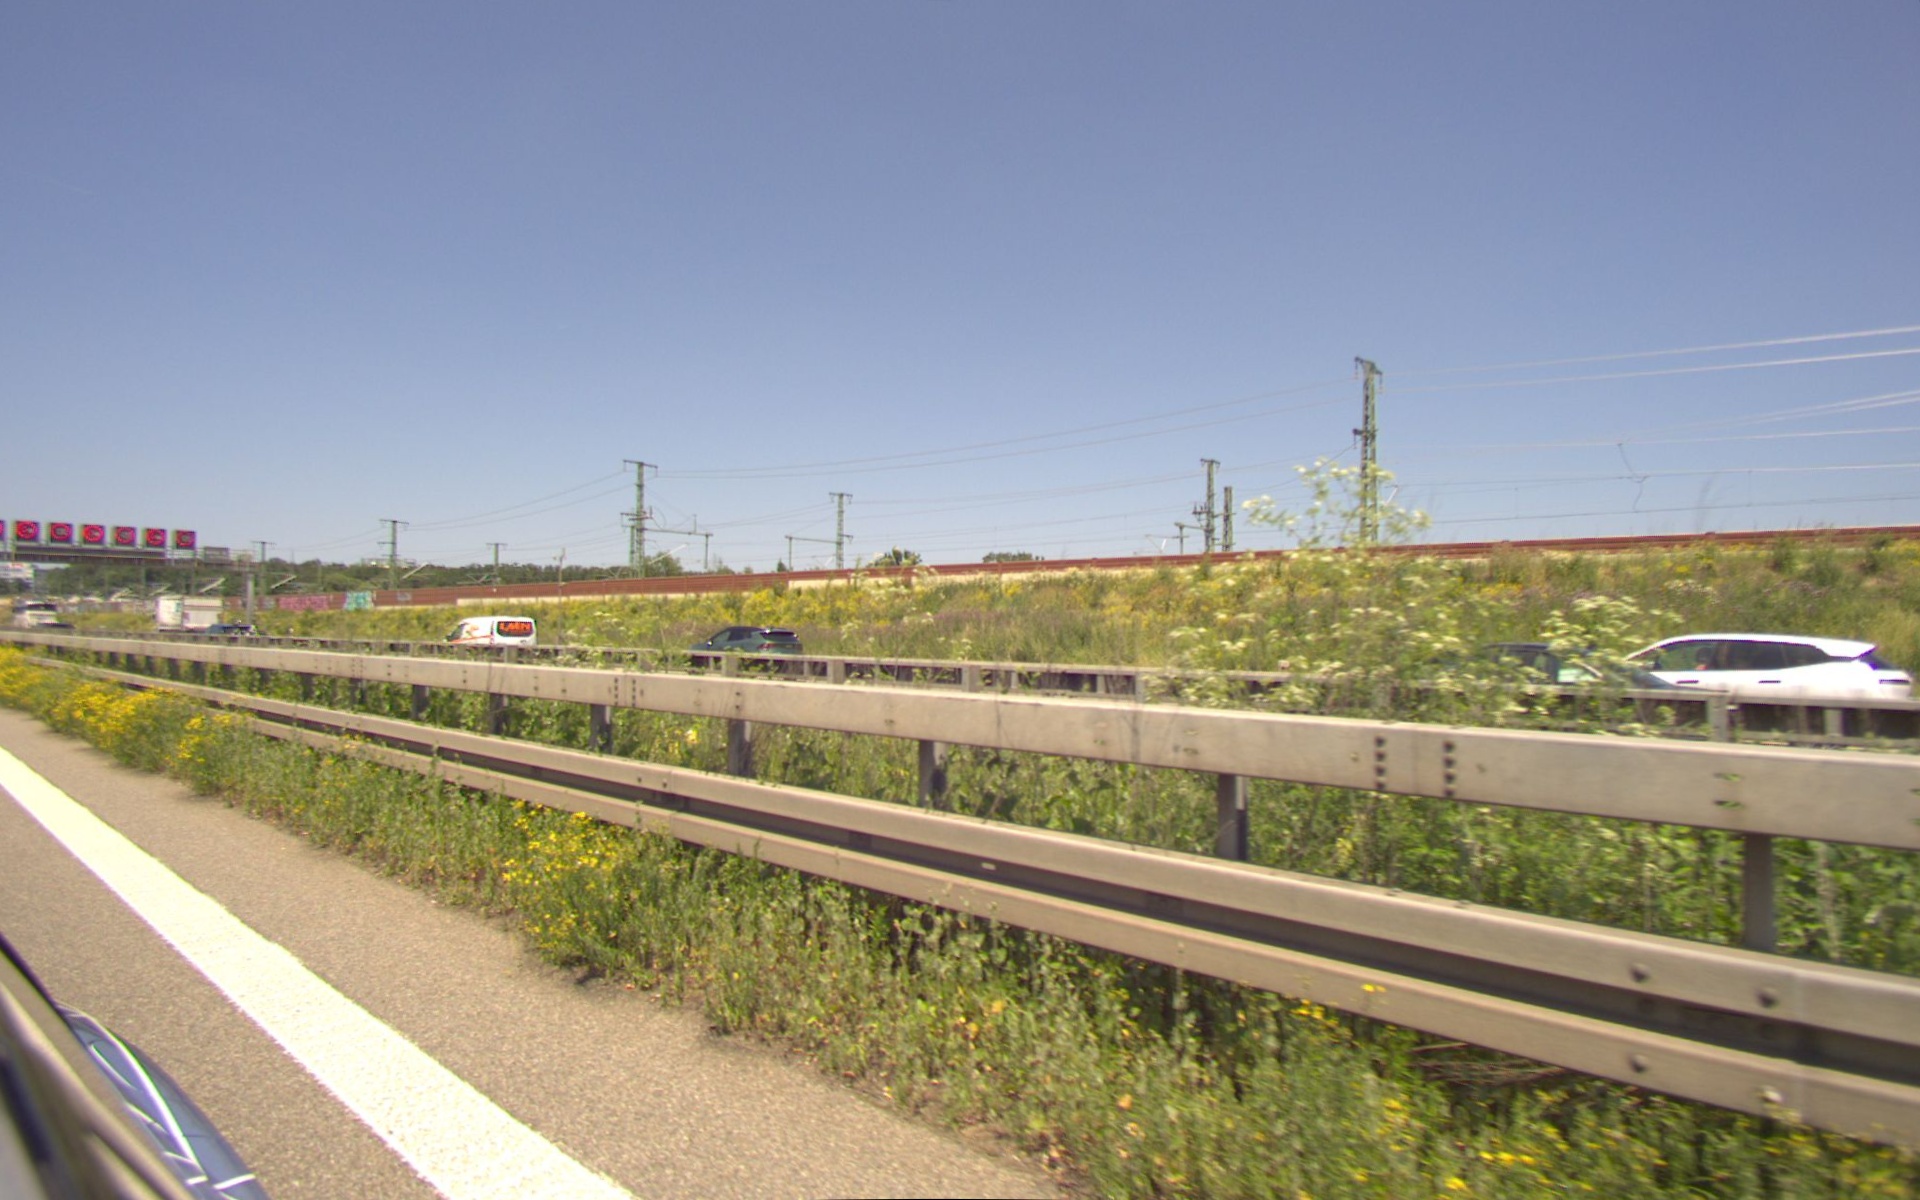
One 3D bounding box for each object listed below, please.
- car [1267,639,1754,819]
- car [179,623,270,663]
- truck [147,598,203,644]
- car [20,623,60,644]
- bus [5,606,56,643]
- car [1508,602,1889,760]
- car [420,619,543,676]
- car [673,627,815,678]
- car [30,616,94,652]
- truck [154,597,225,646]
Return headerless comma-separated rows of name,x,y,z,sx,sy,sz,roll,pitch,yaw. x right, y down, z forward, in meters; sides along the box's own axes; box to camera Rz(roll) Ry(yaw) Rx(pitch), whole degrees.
car,5.563,1.164,10.514,4.131,1.354,1.867,1,-2,42
car,-31.490,1.802,43.270,5.392,1.623,1.900,-1,-3,40
truck,-62.320,1.687,80.324,4.021,3.493,2.818,-1,0,41
car,-73.317,2.650,80.634,3.998,1.623,1.900,-1,-3,42
bus,-99.915,2.614,108.697,10.935,3.673,2.827,-2,0,41
car,11.160,1.102,15.534,4.493,2.029,1.972,1,-2,42
car,-16.489,1.585,34.748,5.194,1.814,1.900,-1,-3,42
car,-6.676,1.571,30.981,4.582,1.428,1.900,-1,-3,42
car,-45.339,1.676,51.080,3.998,1.733,1.972,-1,-1,42
truck,-58.926,1.610,77.299,7.777,3.493,2.828,-1,0,42
